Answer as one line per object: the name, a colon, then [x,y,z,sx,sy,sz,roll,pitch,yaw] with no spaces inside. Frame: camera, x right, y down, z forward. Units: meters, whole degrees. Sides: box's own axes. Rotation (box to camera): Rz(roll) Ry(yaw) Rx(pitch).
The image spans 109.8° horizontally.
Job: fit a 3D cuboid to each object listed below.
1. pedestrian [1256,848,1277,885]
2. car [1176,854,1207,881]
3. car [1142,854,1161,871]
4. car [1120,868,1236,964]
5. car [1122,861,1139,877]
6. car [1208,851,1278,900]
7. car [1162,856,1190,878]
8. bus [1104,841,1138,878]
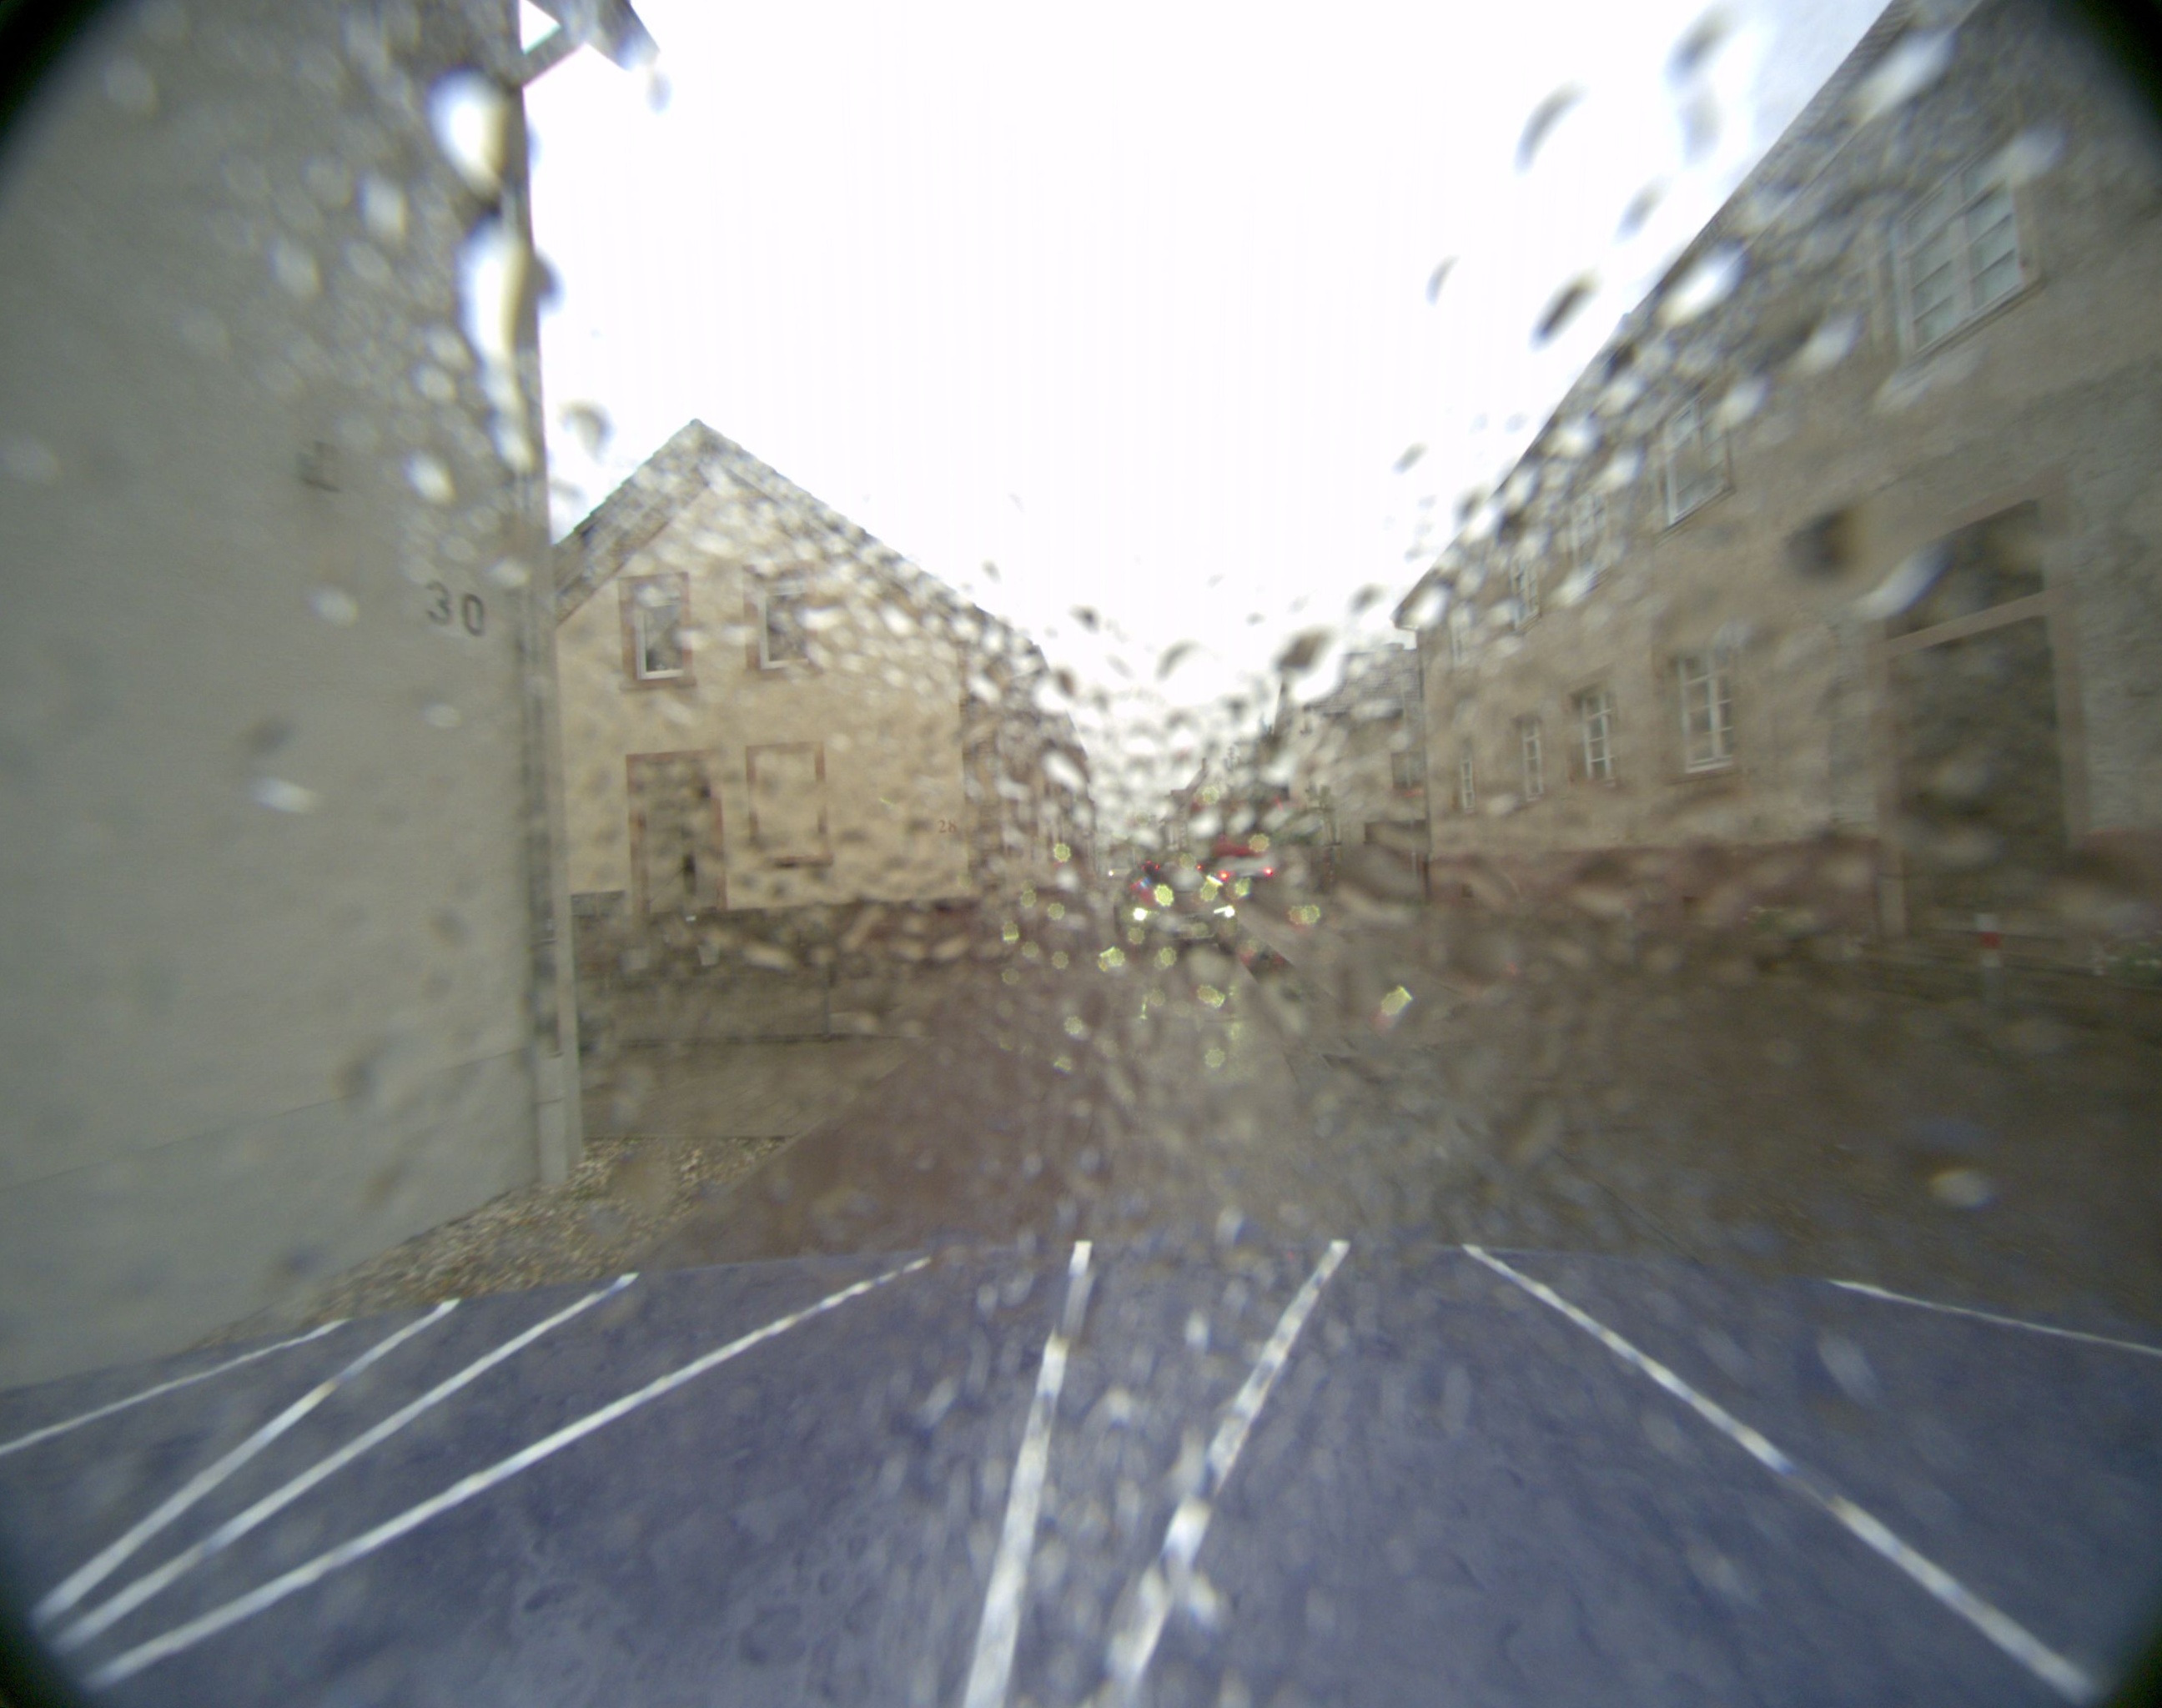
pedestrian: [8.065,0.549,33.061,0.573,1.529,0.833,-5,0,1]
car: [6.846,0.816,47.421,1.608,1.504,3.689,-4,0,5]
car: [6.954,0.825,75.195,1.626,1.502,3.794,-6,0,5]
car: [1.675,1.007,13.822,1.738,1.362,4.104,-2,0,5]
car: [5.659,1.645,86.781,1.784,1.655,4.427,-2,1,4]
car: [5.769,0.717,27.549,1.836,1.546,4.240,-3,0,4]
car: [6.979,0.926,56.131,1.700,1.500,4.342,-2,0,3]
bus: [3.800,0.523,74.597,2.668,3.213,12.192,-2,0,1]
